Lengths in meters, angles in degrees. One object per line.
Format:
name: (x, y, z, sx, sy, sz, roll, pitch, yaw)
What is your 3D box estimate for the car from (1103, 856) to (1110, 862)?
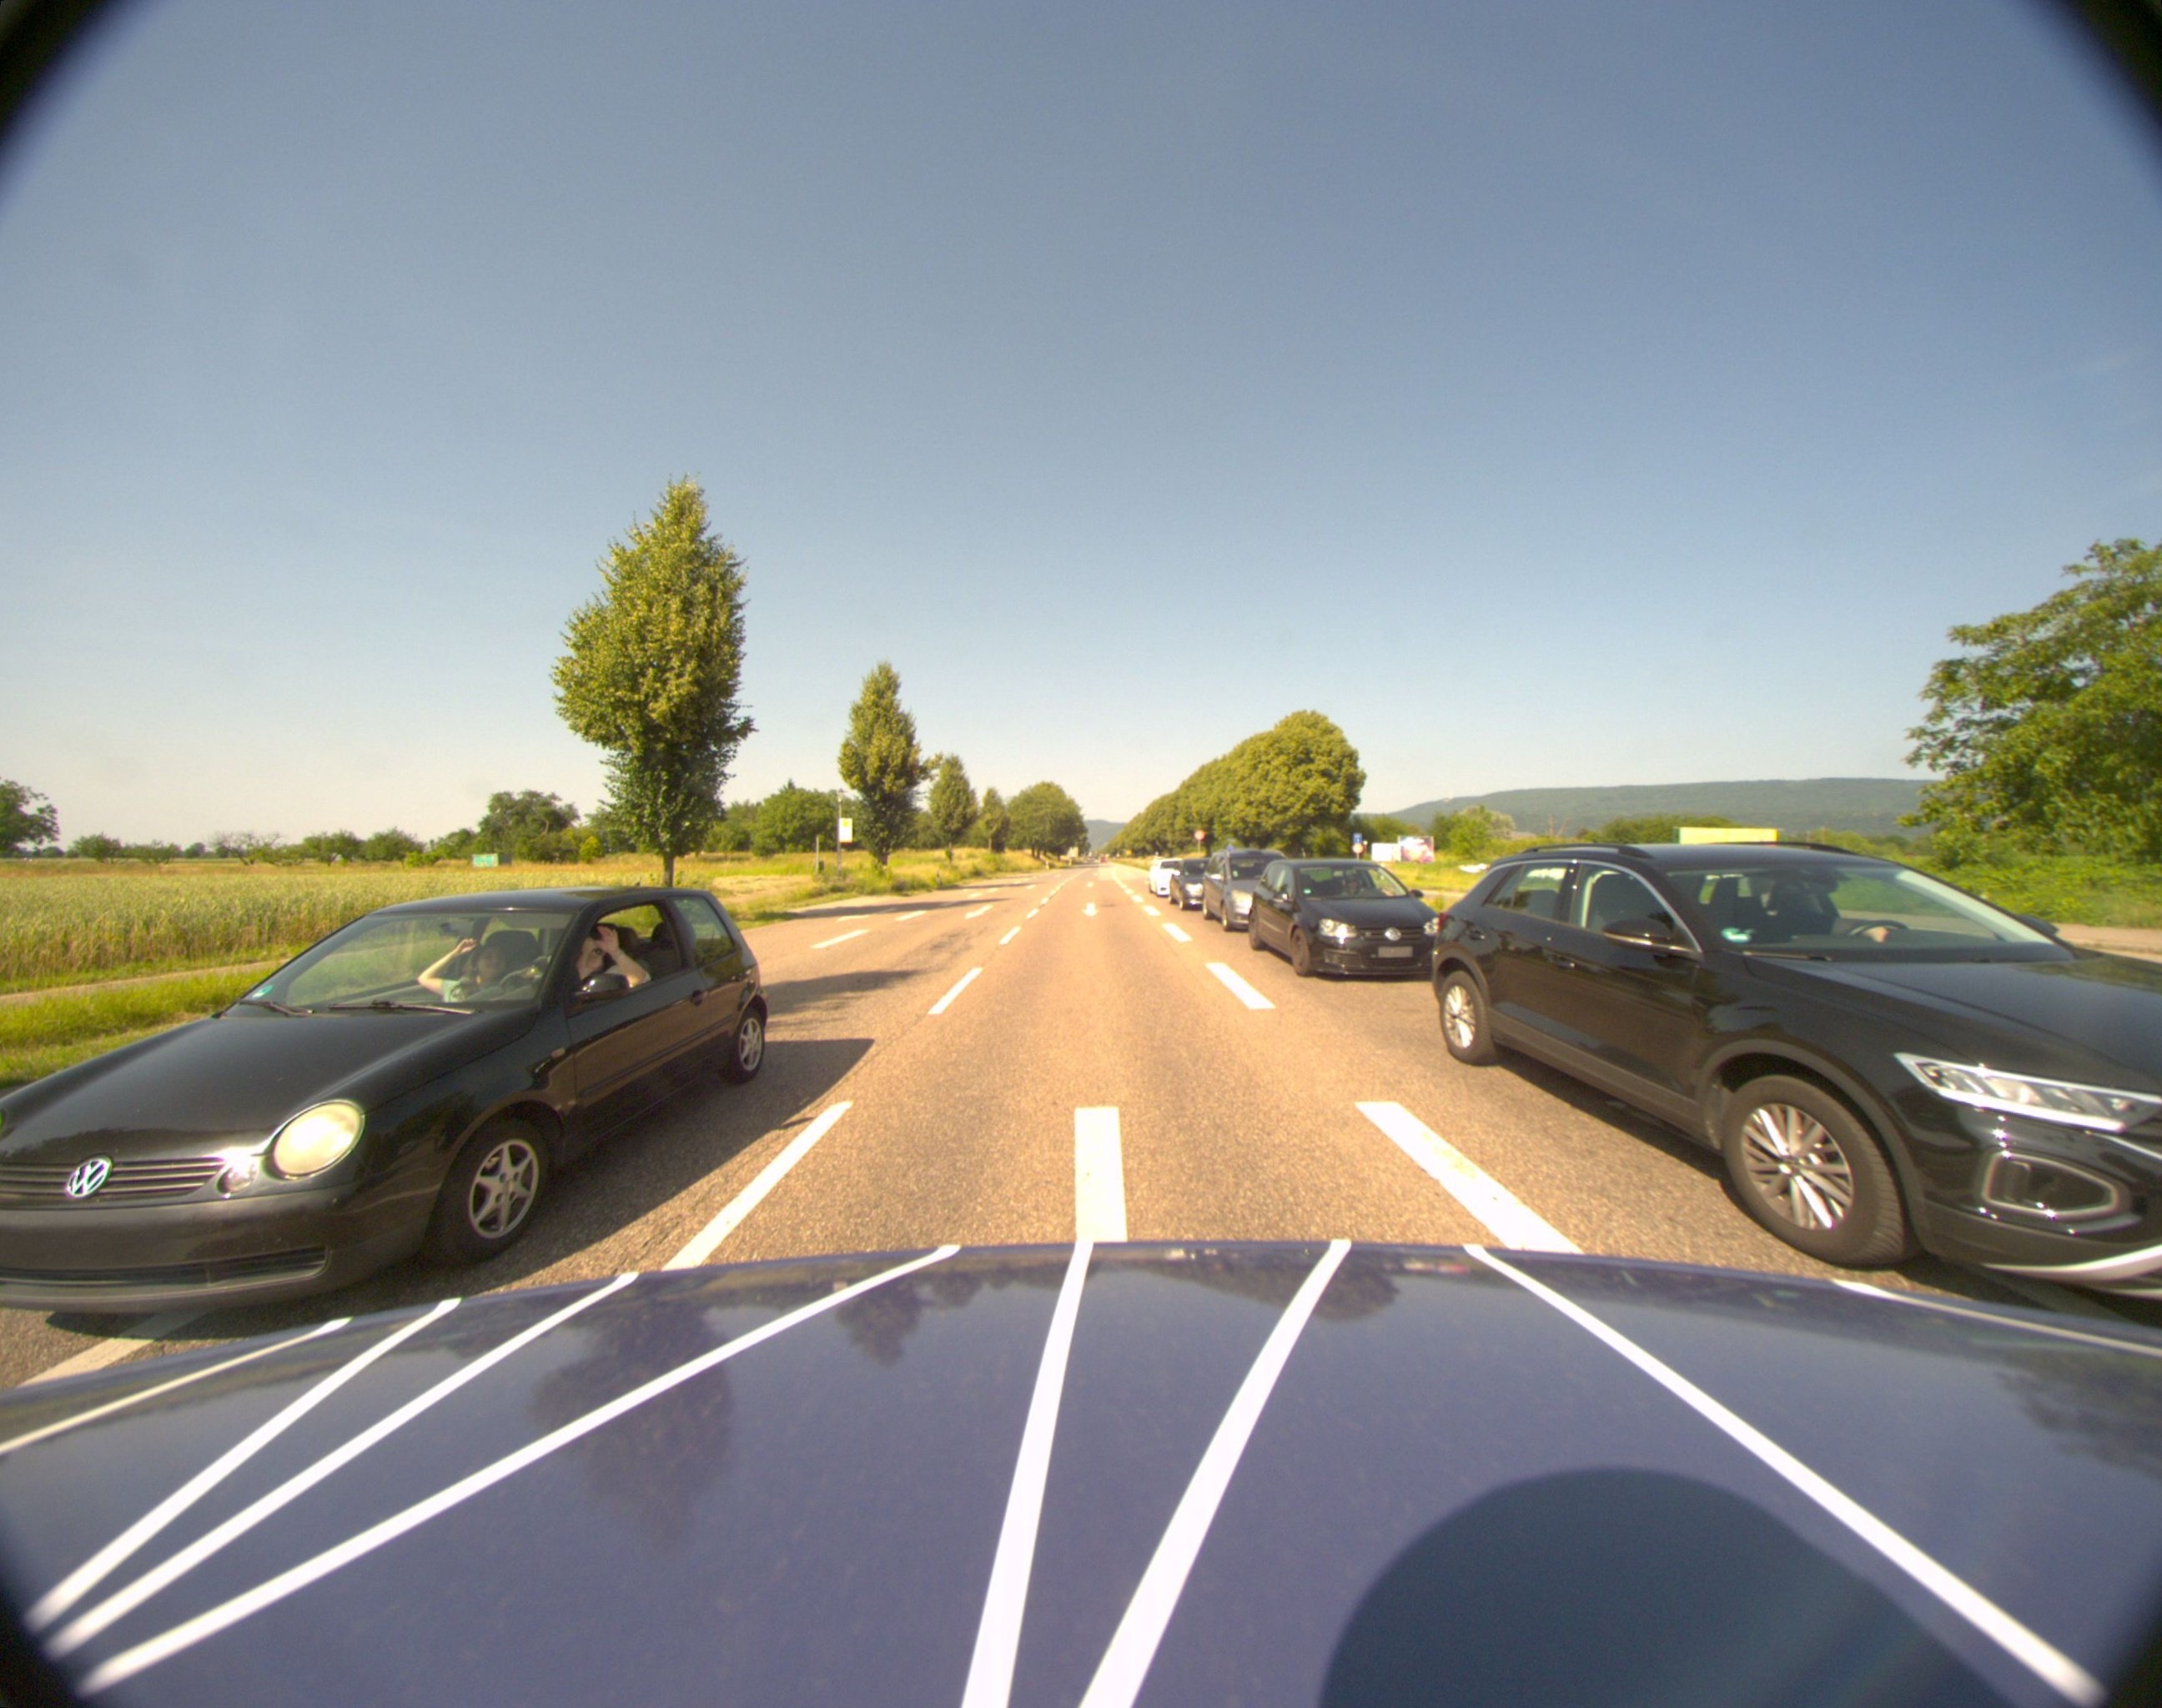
car: (6.594, 1.374, 199.226, 1.680, 1.499, 3.725, 0, 0, 1)

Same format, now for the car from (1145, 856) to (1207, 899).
car: (3.564, 0.839, 29.187, 1.808, 1.417, 4.641, -1, 0, 1)

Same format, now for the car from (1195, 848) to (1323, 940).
car: (3.615, 0.742, 16.204, 1.745, 1.662, 4.357, -1, 0, 1)

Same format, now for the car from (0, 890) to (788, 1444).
car: (-3.100, 1.021, 4.045, 1.629, 1.425, 3.622, -2, 0, 0)

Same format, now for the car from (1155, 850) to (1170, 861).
car: (11.820, 0.216, 110.705, 1.887, 1.506, 4.148, 1, 0, 2)

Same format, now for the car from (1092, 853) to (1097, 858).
car: (4.204, 0.602, 233.631, 1.680, 1.499, 3.725, 1, 0, 1)

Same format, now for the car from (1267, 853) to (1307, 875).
car: (14.764, 0.723, 54.615, 1.619, 1.433, 3.775, 2, 0, -2)

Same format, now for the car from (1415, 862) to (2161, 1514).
car: (3.456, 0.847, 3.904, 1.733, 1.538, 4.098, -1, 0, 1)

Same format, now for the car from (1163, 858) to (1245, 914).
car: (3.489, 0.862, 22.263, 1.719, 1.402, 4.355, -2, 0, 1)

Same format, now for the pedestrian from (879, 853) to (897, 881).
pedestrian: (-12.423, 0.825, 48.975, 0.904, 1.828, 1.194, 0, 0, -1)

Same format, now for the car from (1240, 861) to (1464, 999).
car: (3.433, 0.866, 10.473, 1.670, 1.466, 4.098, -1, 0, 1)
